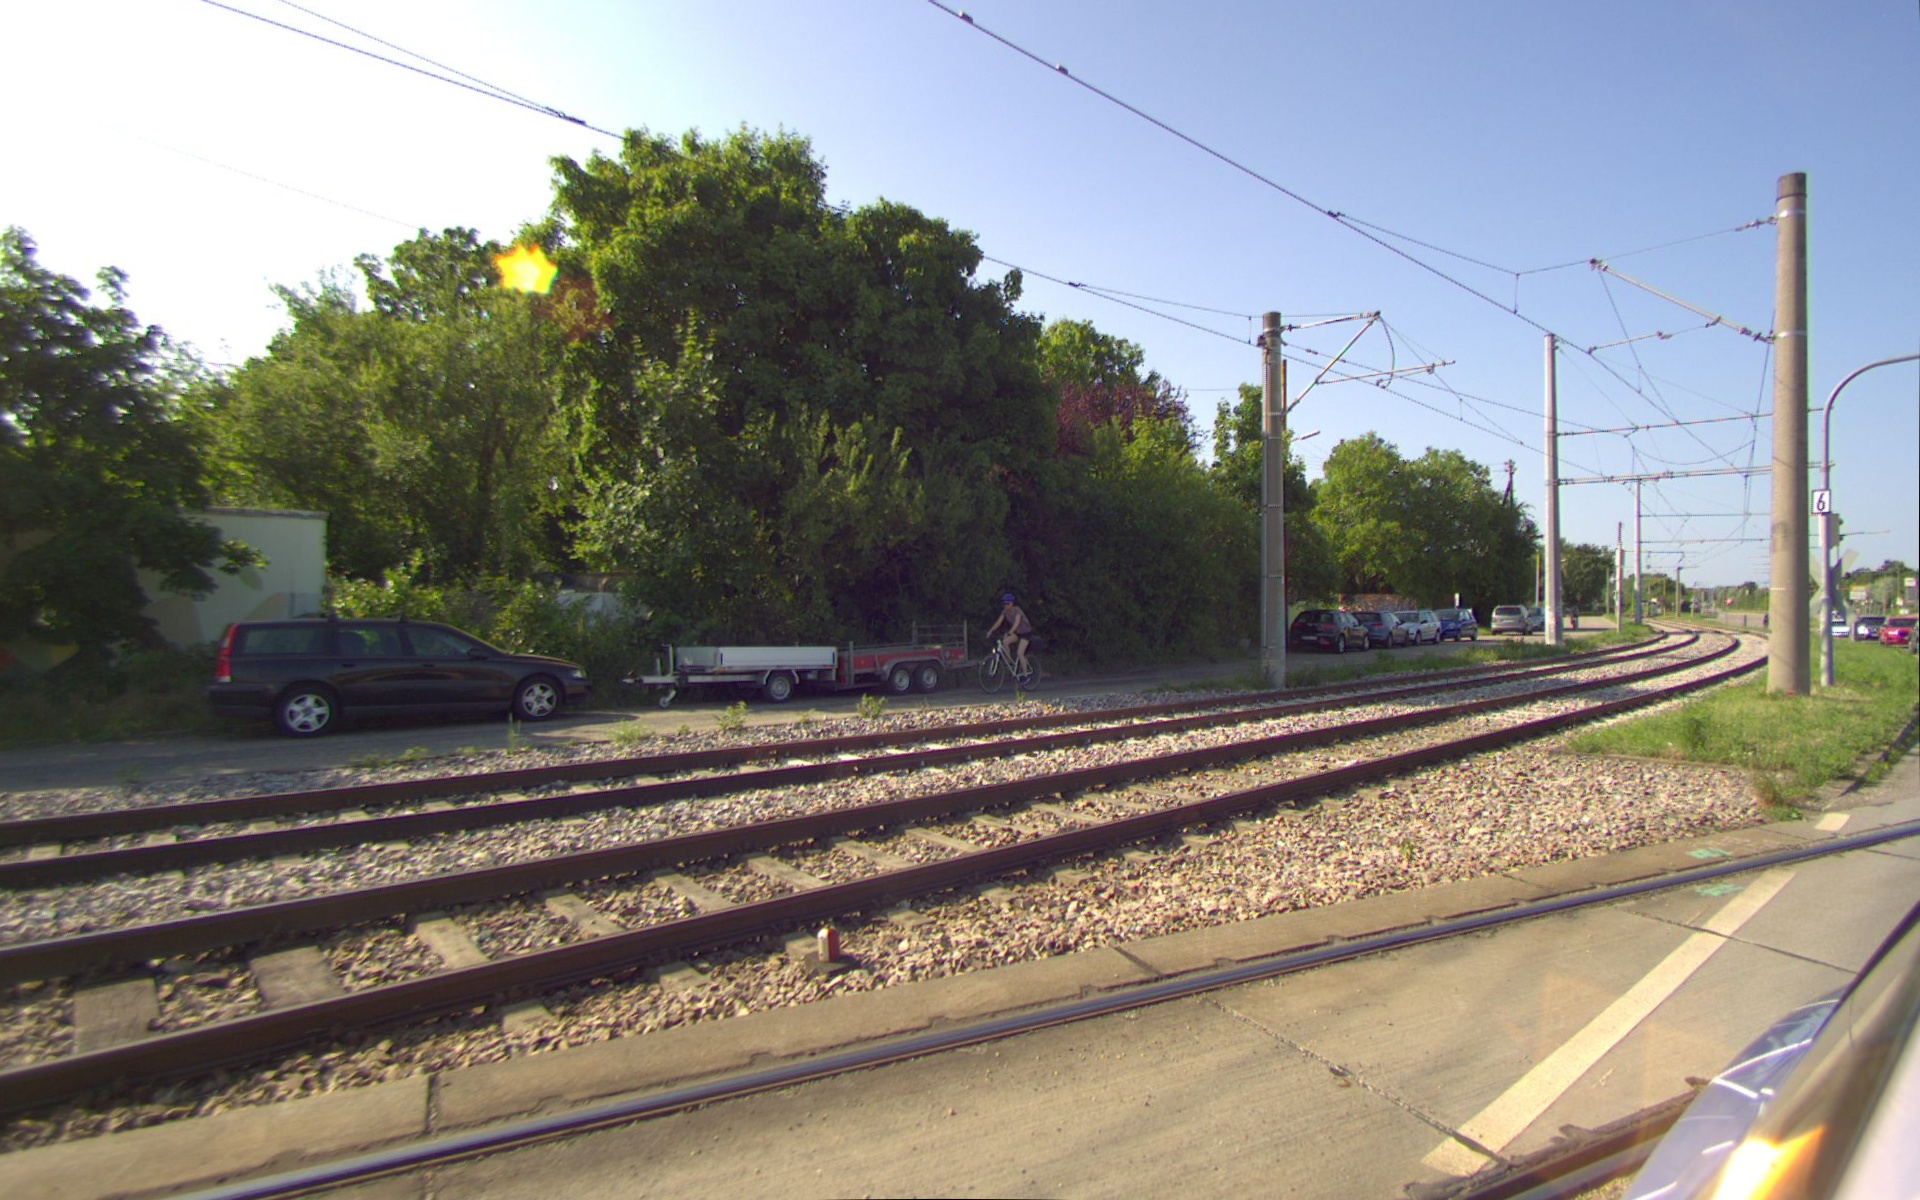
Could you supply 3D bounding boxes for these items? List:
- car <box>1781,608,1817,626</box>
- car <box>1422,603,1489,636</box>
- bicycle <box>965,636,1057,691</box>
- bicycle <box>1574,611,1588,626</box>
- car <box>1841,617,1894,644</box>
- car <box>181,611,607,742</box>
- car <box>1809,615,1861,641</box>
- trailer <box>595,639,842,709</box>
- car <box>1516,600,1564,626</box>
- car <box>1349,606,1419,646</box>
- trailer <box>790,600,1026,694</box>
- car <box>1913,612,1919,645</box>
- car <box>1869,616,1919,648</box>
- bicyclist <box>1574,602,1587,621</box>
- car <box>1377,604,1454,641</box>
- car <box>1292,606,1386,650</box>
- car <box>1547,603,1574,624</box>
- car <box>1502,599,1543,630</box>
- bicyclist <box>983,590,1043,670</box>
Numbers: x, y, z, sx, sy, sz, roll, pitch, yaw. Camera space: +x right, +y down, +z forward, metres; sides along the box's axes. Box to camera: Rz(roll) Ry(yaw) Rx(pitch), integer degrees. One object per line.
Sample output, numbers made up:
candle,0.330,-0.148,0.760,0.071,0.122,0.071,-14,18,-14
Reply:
car,72.167,1.480,87.120,1.824,1.533,4.104,-2,-2,32
car,23.002,0.914,46.959,1.677,1.449,3.849,-3,-3,44
bicycle,0.968,1.152,18.742,1.813,0.921,0.643,0,-1,-44
bicycle,40.917,1.214,66.689,0.641,0.921,1.790,-2,-1,35
car,54.447,1.810,60.771,1.596,1.533,4.218,-2,-2,32
car,-7.424,0.923,13.602,4.792,1.476,1.701,0,-3,-39
car,59.431,1.878,68.804,1.954,1.639,4.260,0,0,31
trailer,-3.985,1.194,16.976,3.663,0.952,1.733,0,-3,-41
car,37.765,0.835,65.852,1.905,1.610,4.658,1,0,40
car,16.211,0.939,38.581,1.481,1.419,4.094,0,0,37
trailer,-0.932,0.856,19.524,4.186,1.617,2.028,0,-3,-42
car,40.410,1.163,41.215,1.838,1.373,4.097,-2,-2,37
car,49.272,1.649,53.209,1.838,1.617,3.687,-2,-2,37
bicyclist,40.896,0.750,66.669,0.637,1.249,0.781,-2,-2,36
car,19.151,0.925,42.487,1.708,1.484,4.322,0,-1,42
car,13.104,0.933,34.869,1.620,1.429,4.456,-2,-2,40
car,44.626,0.977,75.193,1.528,1.466,4.081,1,0,33
car,30.958,0.784,55.681,1.517,1.631,4.427,0,0,35
bicyclist,0.983,0.547,18.774,0.946,1.440,0.629,1,-2,-44
